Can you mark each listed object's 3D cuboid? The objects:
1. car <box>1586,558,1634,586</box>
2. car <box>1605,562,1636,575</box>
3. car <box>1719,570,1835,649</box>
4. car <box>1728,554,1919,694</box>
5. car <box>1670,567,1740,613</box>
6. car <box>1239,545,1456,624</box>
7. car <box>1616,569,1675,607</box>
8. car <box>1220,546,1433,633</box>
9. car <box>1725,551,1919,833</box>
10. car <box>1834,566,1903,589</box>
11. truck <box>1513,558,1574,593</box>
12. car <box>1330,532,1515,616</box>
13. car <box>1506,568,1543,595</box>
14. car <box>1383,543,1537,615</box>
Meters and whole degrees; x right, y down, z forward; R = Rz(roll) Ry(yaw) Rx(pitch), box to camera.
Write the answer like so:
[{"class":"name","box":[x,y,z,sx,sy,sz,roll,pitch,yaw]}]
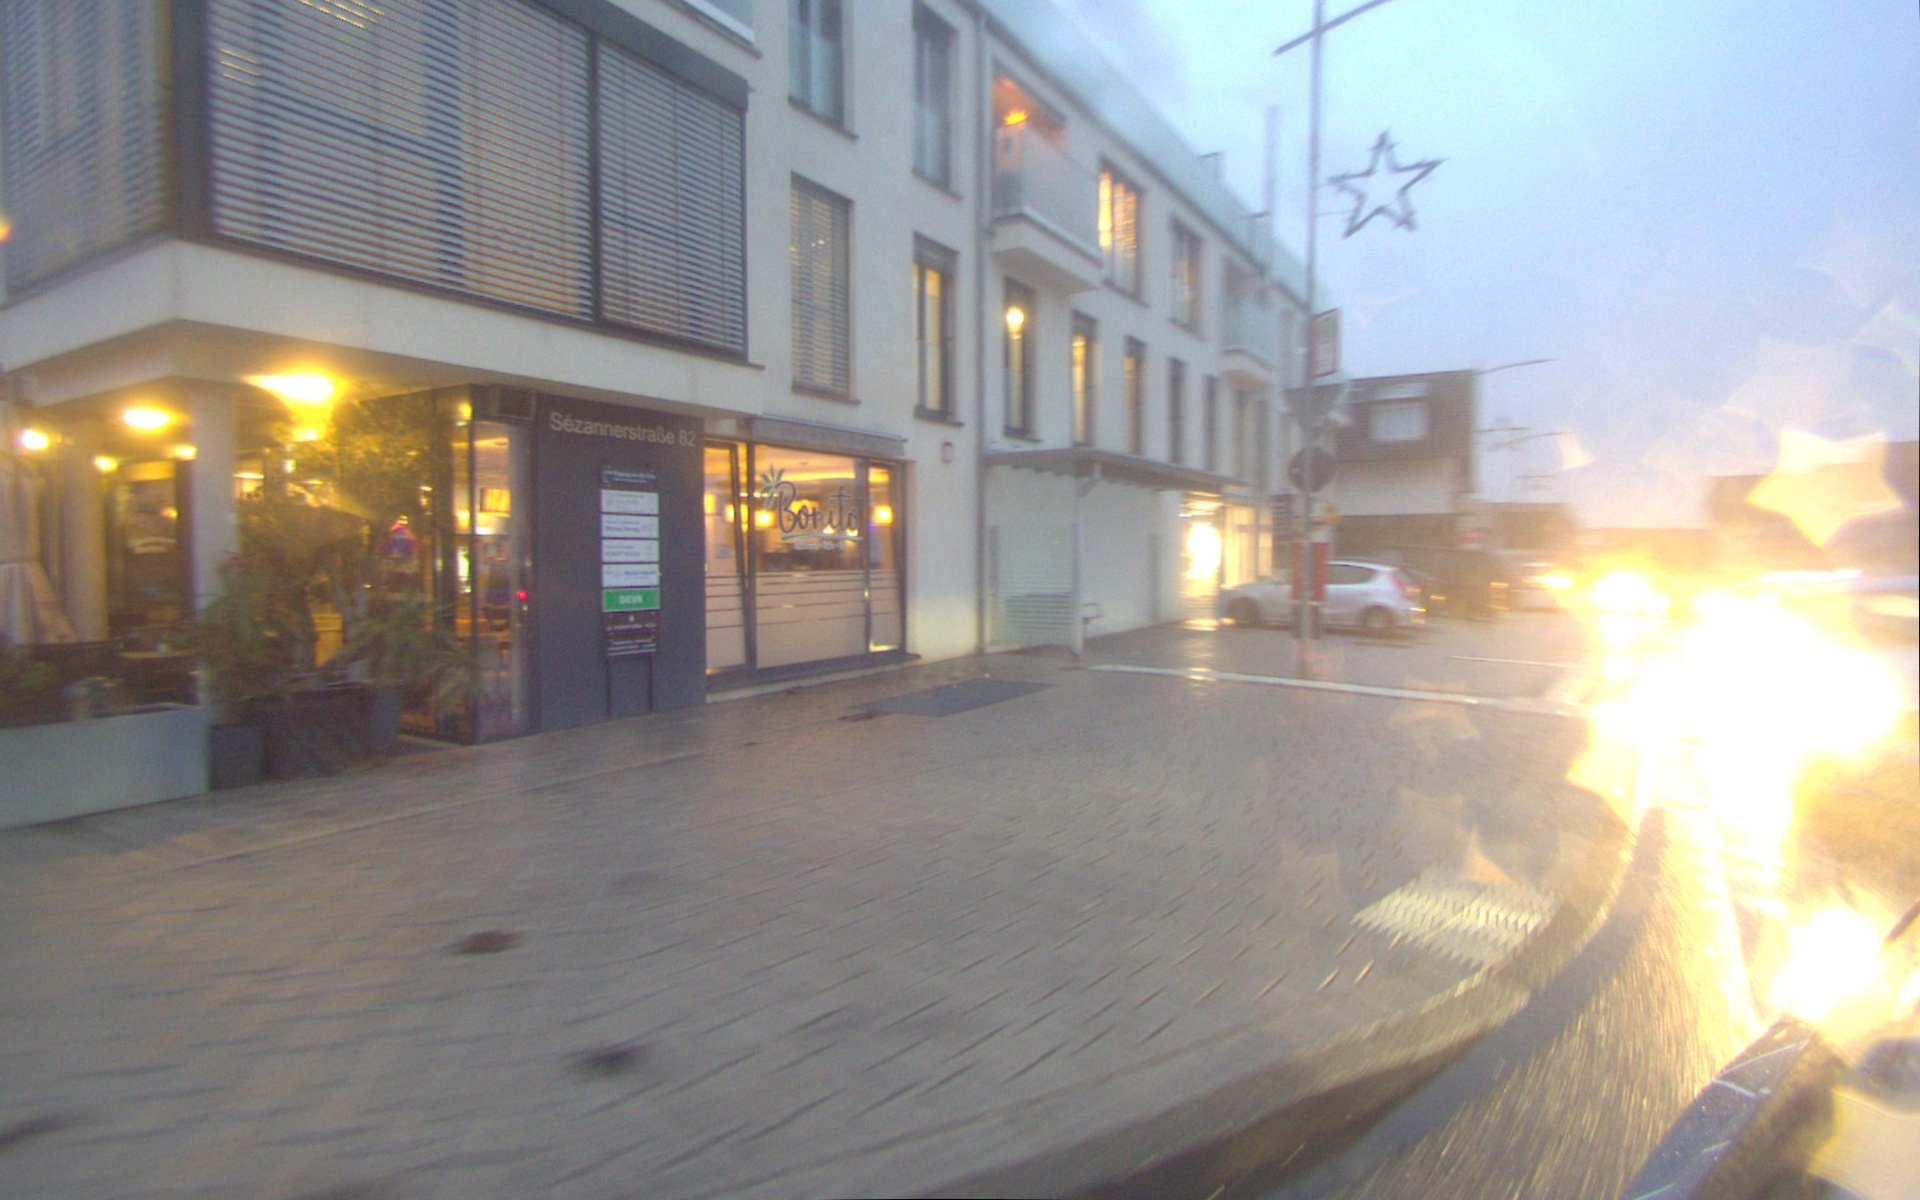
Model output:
[{"class":"car","box":[49.443,-2.137,77.061,1.972,2.038,3.981,0,2,16]},{"class":"car","box":[75.974,-3.605,116.487,1.775,1.486,4.236,1,2,17]},{"class":"car","box":[16.769,0.145,20.909,1.562,1.487,3.572,-1,1,35]},{"class":"car","box":[11.827,0.247,14.001,1.671,1.644,3.951,1,1,34]},{"class":"car","box":[25.198,-0.364,34.328,1.730,1.461,3.952,0,1,34]},{"class":"car","box":[9.141,-0.419,23.992,4.488,1.510,1.954,5,4,31]},{"class":"car","box":[30.003,-0.550,44.351,1.819,1.563,3.677,0,1,29]},{"class":"car","box":[7.652,-0.275,21.157,3.961,1.521,1.798,4,3,26]},{"class":"car","box":[6.821,0.476,7.183,1.875,1.598,3.954,0,1,32]},{"class":"car","box":[62.670,-1.593,69.883,1.776,1.486,4.591,1,2,18]},{"class":"truck","box":[39.582,-1.689,68.801,2.218,2.258,6.073,0,2,17]},{"class":"car","box":[13.301,-0.802,29.204,4.523,1.956,1.953,7,5,32]},{"class":"car","box":[34.169,-1.139,61.292,1.832,1.606,3.733,1,2,28]},{"class":"car","box":[15.786,-0.695,32.124,4.116,1.653,1.739,10,5,26]}]
